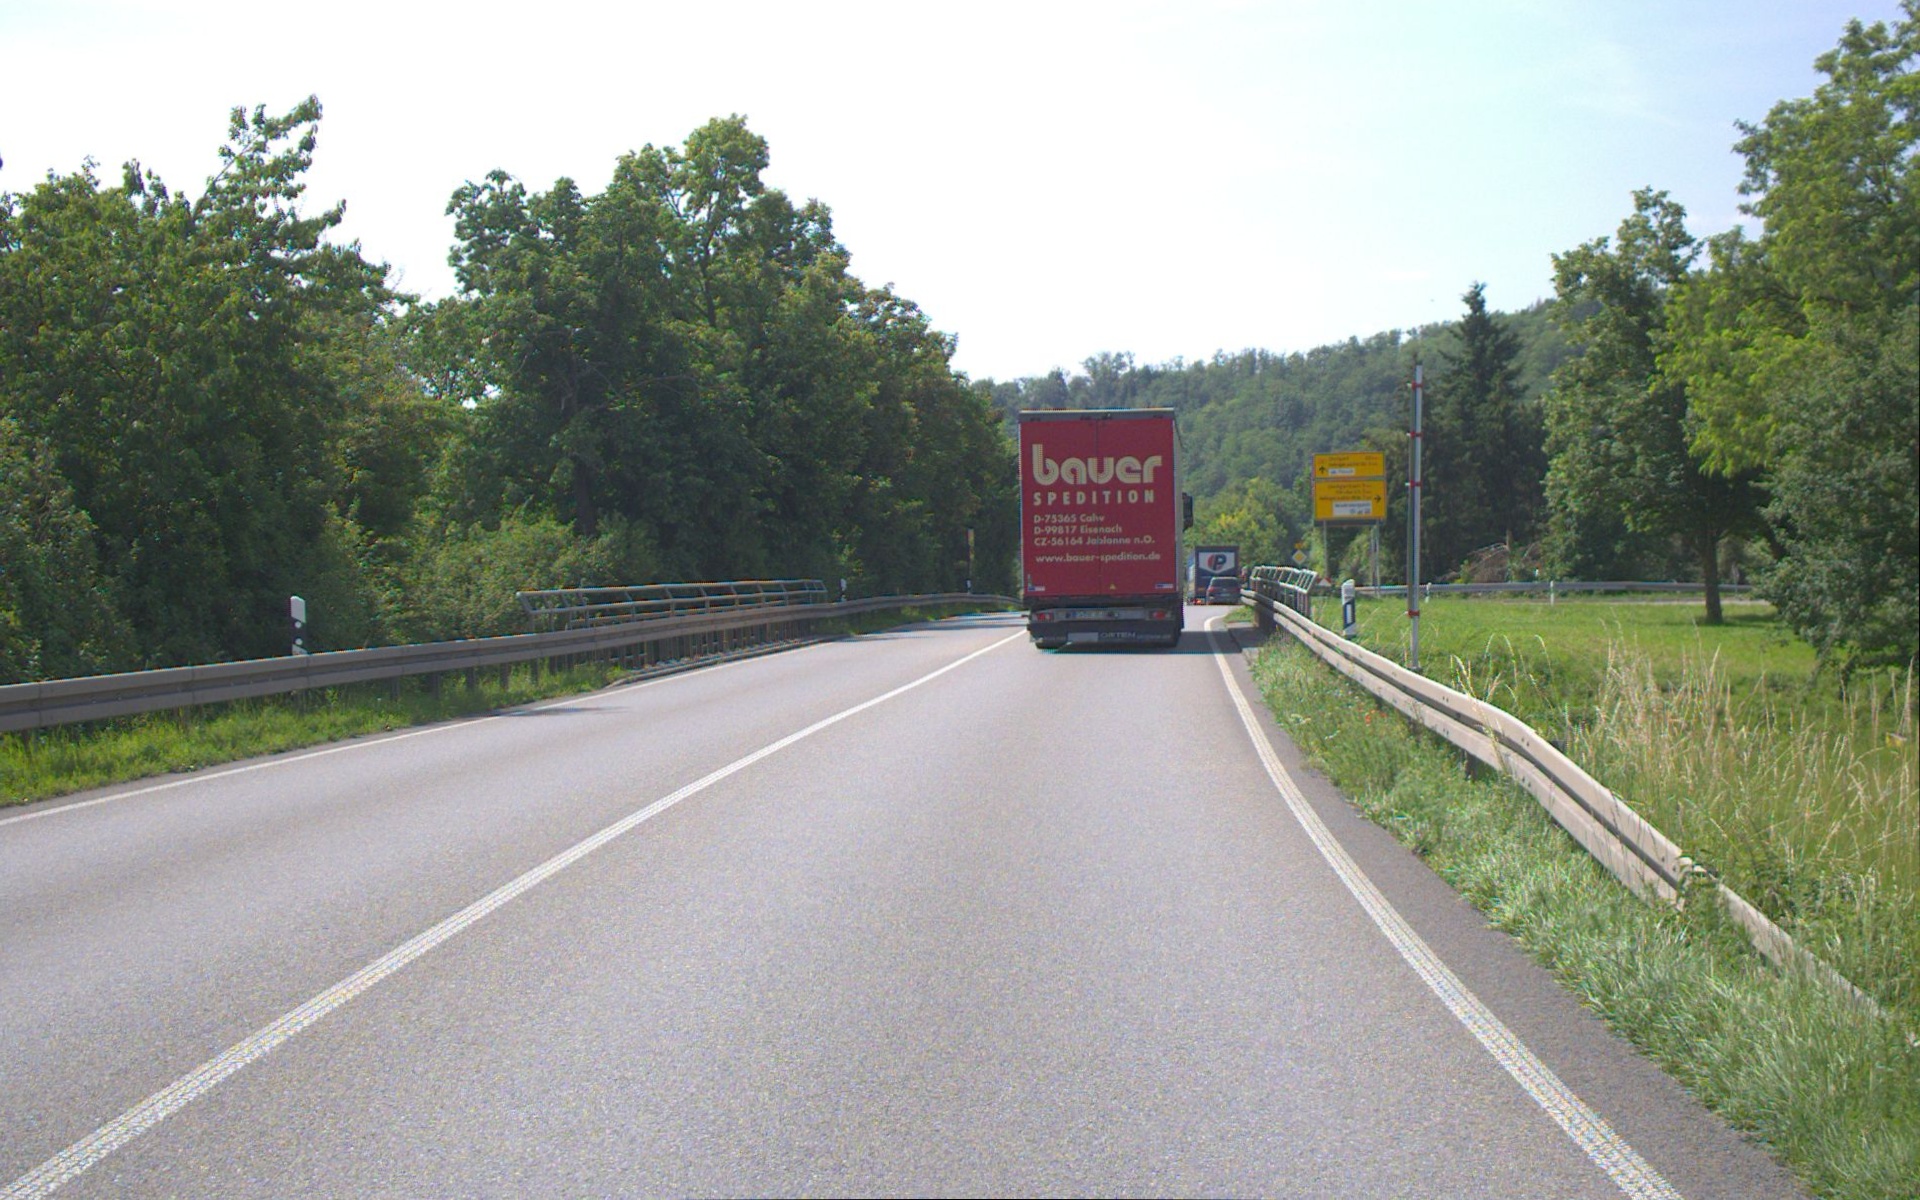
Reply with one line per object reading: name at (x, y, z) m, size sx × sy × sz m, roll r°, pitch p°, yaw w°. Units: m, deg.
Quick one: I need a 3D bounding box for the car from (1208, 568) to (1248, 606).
car at (13.754, -0.657, 176.669) m, size 1.994 × 1.804 × 3.999 m, roll 2°, pitch -1°, yaw 4°

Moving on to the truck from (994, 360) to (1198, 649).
truck at (2.665, -1.627, 62.328) m, size 3.173 × 4.609 × 13.542 m, roll -1°, pitch 1°, yaw 4°

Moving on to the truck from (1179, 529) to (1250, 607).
truck at (15.467, -1.856, 207.749) m, size 3.906 × 4.355 × 13.289 m, roll 1°, pitch -1°, yaw 5°
